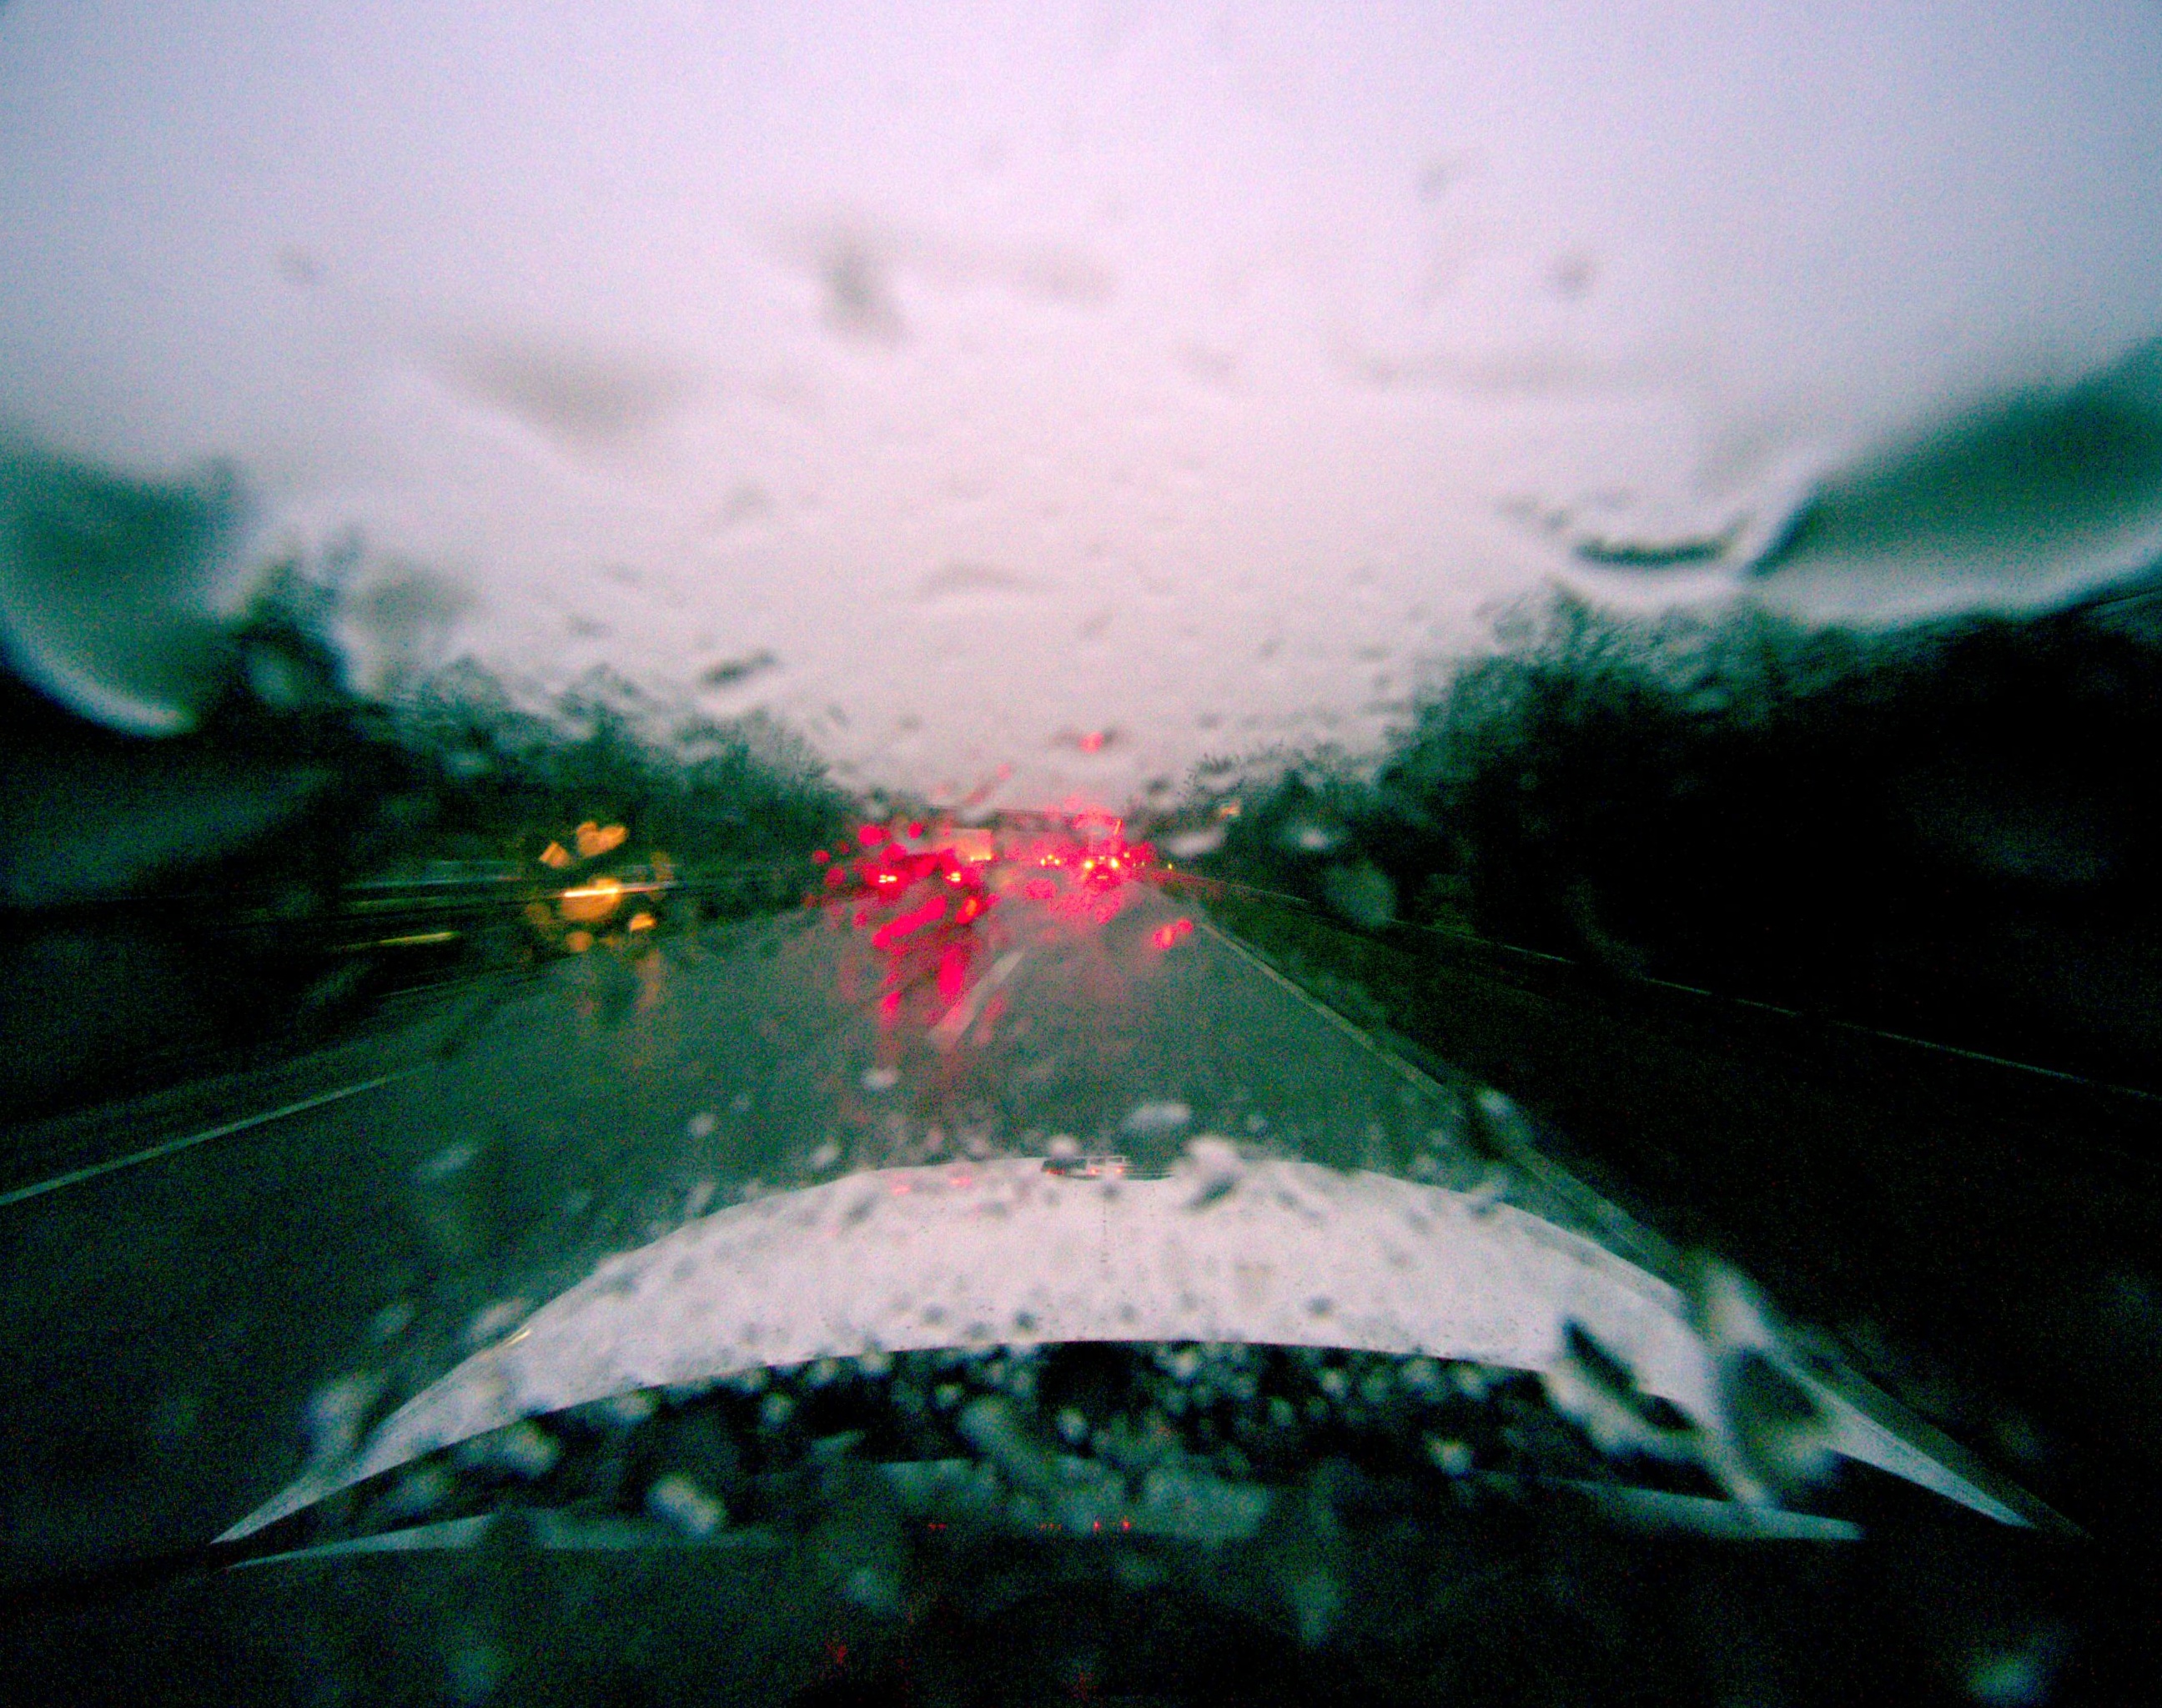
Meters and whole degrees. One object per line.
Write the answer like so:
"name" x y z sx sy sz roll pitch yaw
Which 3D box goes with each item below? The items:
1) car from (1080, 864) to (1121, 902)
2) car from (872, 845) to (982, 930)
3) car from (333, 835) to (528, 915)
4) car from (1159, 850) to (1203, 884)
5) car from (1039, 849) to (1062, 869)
"car" 0.956 1.326 38.677 1.724 1.429 3.771 -1 3 4
"car" -3.335 0.665 18.386 1.990 1.665 3.994 -1 0 -5
"car" -17.791 0.588 22.572 1.986 2.014 4.002 0 -2 2
"car" 4.539 0.592 37.444 1.676 1.418 3.876 -2 -1 2
"car" -2.717 0.408 72.781 1.872 1.617 3.875 1 2 0
